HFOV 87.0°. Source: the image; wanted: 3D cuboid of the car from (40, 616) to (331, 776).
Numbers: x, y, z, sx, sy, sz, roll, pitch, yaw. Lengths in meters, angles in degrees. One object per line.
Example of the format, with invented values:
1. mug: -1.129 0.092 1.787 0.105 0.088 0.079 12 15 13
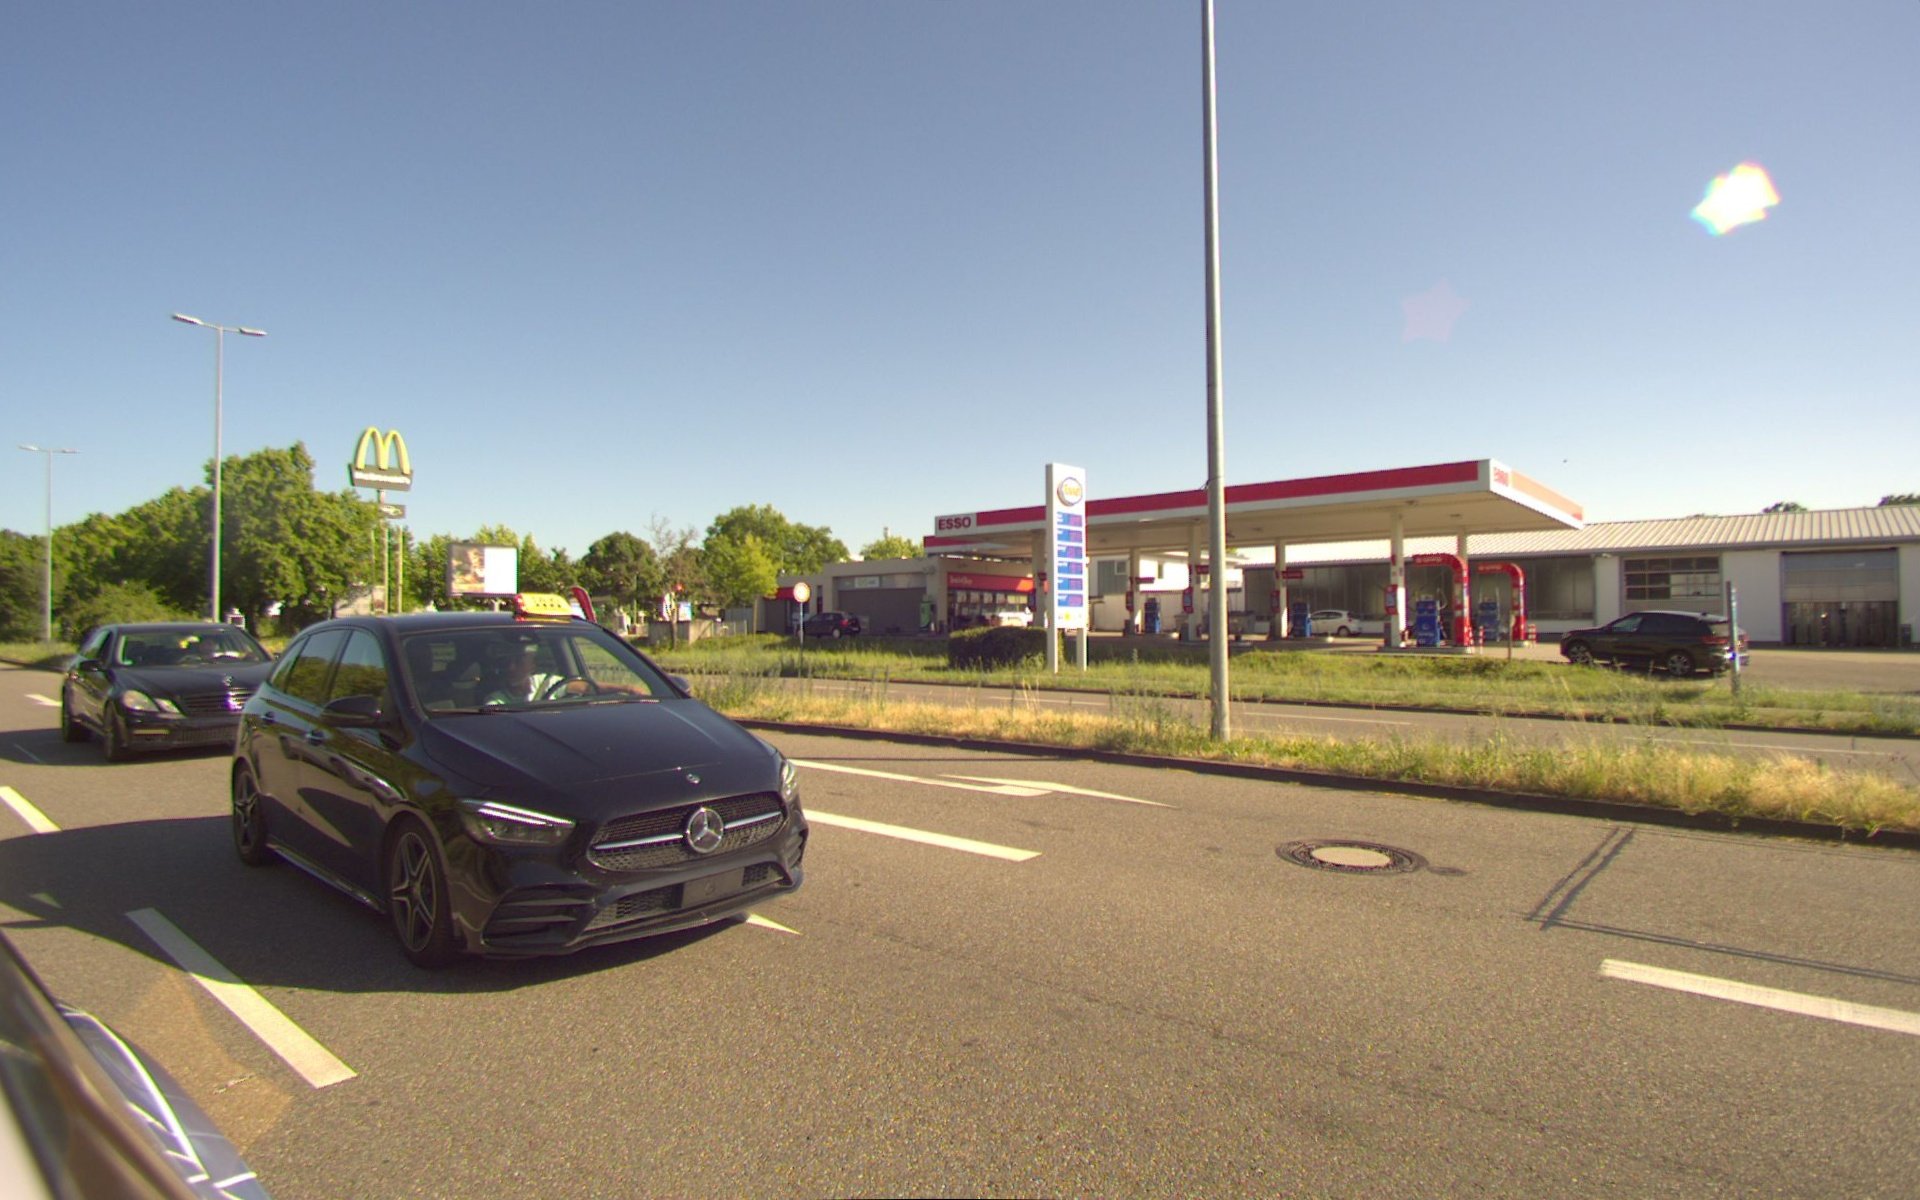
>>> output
1. car: -9.367 0.970 12.104 4.461 1.521 1.928 -1 0 41

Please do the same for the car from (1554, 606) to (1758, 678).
1. car: 18.576 1.059 27.282 1.778 1.739 4.335 -1 0 -17

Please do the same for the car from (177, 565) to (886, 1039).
1. car: -2.668 0.739 5.627 4.579 1.614 1.765 -2 -1 40

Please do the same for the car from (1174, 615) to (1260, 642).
1. car: 15.127 1.657 59.786 4.540 1.477 1.973 -1 0 41

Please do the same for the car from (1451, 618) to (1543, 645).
1. car: 26.211 1.514 49.433 3.729 1.196 1.658 -1 0 41

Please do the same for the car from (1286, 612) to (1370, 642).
1. car: 19.969 1.432 54.933 3.855 1.500 1.973 -1 0 41

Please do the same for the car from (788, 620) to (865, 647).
1. car: -7.189 1.779 54.283 3.998 1.416 1.973 -2 -2 41
